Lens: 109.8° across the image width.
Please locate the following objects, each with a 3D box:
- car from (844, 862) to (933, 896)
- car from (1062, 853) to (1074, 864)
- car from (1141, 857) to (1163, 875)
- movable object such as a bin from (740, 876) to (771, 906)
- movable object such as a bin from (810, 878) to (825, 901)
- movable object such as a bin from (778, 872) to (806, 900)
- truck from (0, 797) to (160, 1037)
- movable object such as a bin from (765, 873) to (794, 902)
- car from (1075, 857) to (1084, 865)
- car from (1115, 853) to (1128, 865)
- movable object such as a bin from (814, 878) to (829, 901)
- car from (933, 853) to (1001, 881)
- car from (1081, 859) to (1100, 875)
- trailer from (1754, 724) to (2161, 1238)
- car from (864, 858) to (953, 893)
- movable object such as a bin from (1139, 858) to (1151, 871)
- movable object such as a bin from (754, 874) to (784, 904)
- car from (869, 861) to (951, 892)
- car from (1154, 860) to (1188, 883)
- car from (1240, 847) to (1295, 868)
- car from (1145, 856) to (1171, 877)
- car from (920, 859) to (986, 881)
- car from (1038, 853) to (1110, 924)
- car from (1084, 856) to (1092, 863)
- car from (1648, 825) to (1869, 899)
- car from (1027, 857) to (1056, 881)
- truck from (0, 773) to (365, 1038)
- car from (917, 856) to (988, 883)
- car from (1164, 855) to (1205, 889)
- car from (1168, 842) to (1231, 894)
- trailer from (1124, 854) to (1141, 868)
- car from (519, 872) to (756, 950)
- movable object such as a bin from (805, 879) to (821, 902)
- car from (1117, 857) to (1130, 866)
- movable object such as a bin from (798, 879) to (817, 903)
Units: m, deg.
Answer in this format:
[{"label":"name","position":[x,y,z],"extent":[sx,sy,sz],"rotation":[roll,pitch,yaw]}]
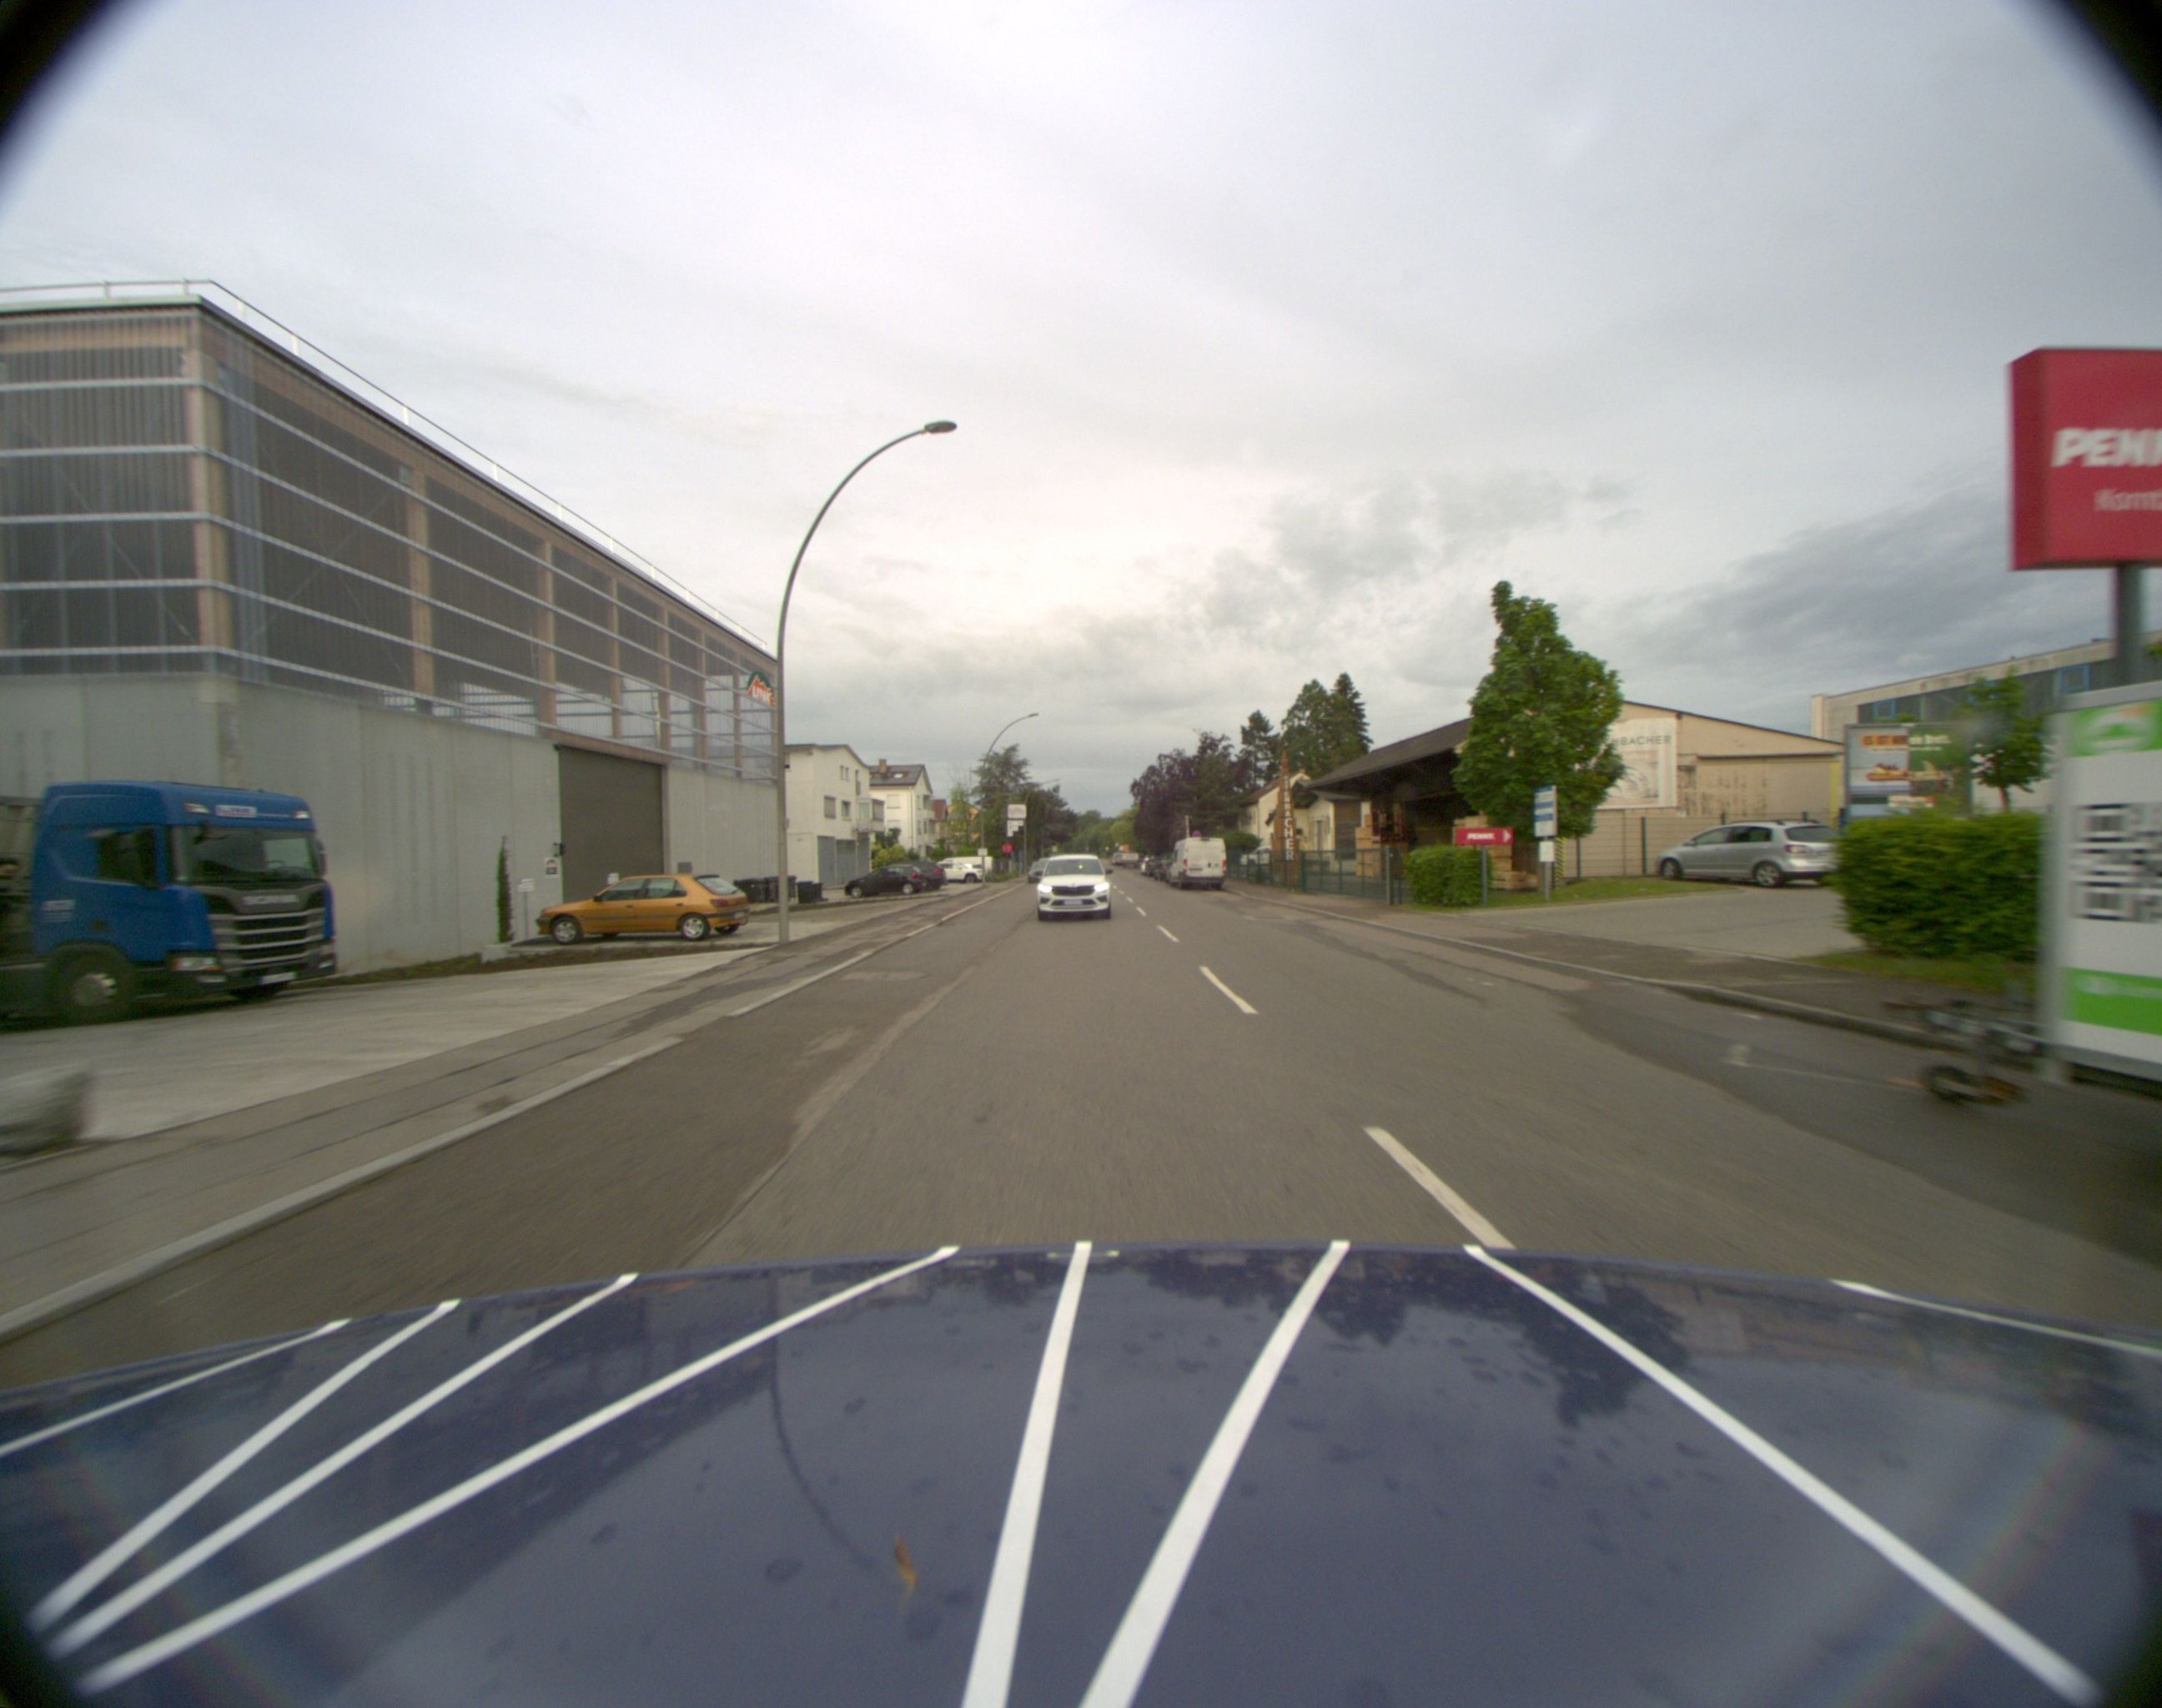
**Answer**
[{"label":"car","position":[-9.683,1.261,38.415],"extent":[3.976,1.481,1.833],"rotation":[-2,0,2]},{"label":"car","position":[-2.112,0.735,126.130],"extent":[1.736,1.817,5.553],"rotation":[-3,0,2]},{"label":"car","position":[6.119,1.000,65.507],"extent":[1.620,1.500,3.660],"rotation":[0,0,1]},{"label":"movable object such as a bin","position":[-15.101,1.703,35.276],"extent":[0.840,1.332,1.213],"rotation":[-2,1,2]},{"label":"movable object such as a bin","position":[-12.633,1.704,36.411],"extent":[0.496,1.049,0.552],"rotation":[-2,1,2]},{"label":"movable object such as a bin","position":[-15.030,1.656,39.510],"extent":[0.840,1.332,1.330],"rotation":[-2,1,2]},{"label":"truck","position":[-20.939,1.176,12.185],"extent":[8.557,3.686,2.721],"rotation":[-3,1,-2]},{"label":"movable object such as a bin","position":[-15.061,1.666,37.945],"extent":[0.840,1.332,1.285],"rotation":[-2,1,2]},{"label":"car","position":[-0.289,1.313,150.545],"extent":[1.743,1.458,4.545],"rotation":[-2,0,-1]},{"label":"car","position":[6.528,0.869,123.388],"extent":[1.898,1.881,5.210],"rotation":[0,0,1]},{"label":"movable object such as a bin","position":[-12.614,1.719,36.955],"extent":[0.518,1.049,0.505],"rotation":[-2,1,2]},{"label":"car","position":[-8.520,0.986,57.081],"extent":[4.743,1.875,2.000],"rotation":[-2,1,0]},{"label":"car","position":[0.891,1.247,76.290],"extent":[1.743,1.458,3.839],"rotation":[-2,0,-1]},{"label":"trailer","position":[5.761,0.582,3.080],"extent":[1.817,2.300,4.730],"rotation":[1,0,0]},{"label":"car","position":[-9.246,1.123,40.949],"extent":[4.237,1.665,1.981],"rotation":[-2,1,0]},{"label":"movable object such as a bin","position":[6.880,1.160,81.976],"extent":[1.103,1.303,1.425],"rotation":[-2,1,0]},{"label":"movable object such as a bin","position":[-15.018,1.679,36.607],"extent":[0.840,1.332,1.321],"rotation":[-2,1,2]},{"label":"car","position":[-9.789,1.262,43.688],"extent":[4.254,1.527,1.811],"rotation":[-3,1,0]},{"label":"car","position":[6.008,1.162,51.217],"extent":[1.665,1.440,4.317],"rotation":[0,0,-1]},{"label":"car","position":[18.527,0.336,75.573],"extent":[5.010,1.846,2.000],"rotation":[-2,1,2]},{"label":"car","position":[6.076,0.976,60.300],"extent":[1.665,1.575,3.916],"rotation":[1,0,0]},{"label":"car","position":[-9.119,1.146,54.422],"extent":[4.331,1.371,1.850],"rotation":[-2,1,0]},{"label":"car","position":[-0.238,0.843,20.564],"extent":[1.692,1.651,3.999],"rotation":[-2,0,-2]},{"label":"car","position":[1.792,1.237,187.161],"extent":[1.898,1.678,4.231],"rotation":[0,0,1]},{"label":"car","position":[16.830,0.185,19.173],"extent":[1.650,1.578,4.043],"rotation":[-3,0,-7]},{"label":"car","position":[-2.654,1.007,52.261],"extent":[1.743,1.458,4.545],"rotation":[-2,0,-1]},{"label":"truck","position":[-15.179,0.794,12.347],"extent":[4.155,3.652,2.719],"rotation":[-4,1,-2]},{"label":"car","position":[-8.747,1.047,51.806],"extent":[4.457,1.615,1.893],"rotation":[-2,1,0]},{"label":"car","position":[6.057,1.006,44.774],"extent":[1.774,1.758,4.446],"rotation":[2,0,1]},{"label":"car","position":[5.971,0.675,39.088],"extent":[2.163,2.413,6.459],"rotation":[2,0,0]},{"label":"trailer","position":[6.594,0.848,97.338],"extent":[1.934,1.755,4.548],"rotation":[-2,0,1]},{"label":"car","position":[-9.246,1.161,16.071],"extent":[3.997,1.422,1.630],"rotation":[-2,0,-1]},{"label":"movable object such as a bin","position":[-12.653,1.708,35.830],"extent":[0.514,1.049,0.543],"rotation":[-2,1,2]},{"label":"car","position":[6.564,1.126,117.951],"extent":[1.821,1.419,4.981],"rotation":[0,0,1]},{"label":"movable object such as a bin","position":[-12.666,1.723,35.225],"extent":[0.575,1.049,0.644],"rotation":[-2,1,2]}]
